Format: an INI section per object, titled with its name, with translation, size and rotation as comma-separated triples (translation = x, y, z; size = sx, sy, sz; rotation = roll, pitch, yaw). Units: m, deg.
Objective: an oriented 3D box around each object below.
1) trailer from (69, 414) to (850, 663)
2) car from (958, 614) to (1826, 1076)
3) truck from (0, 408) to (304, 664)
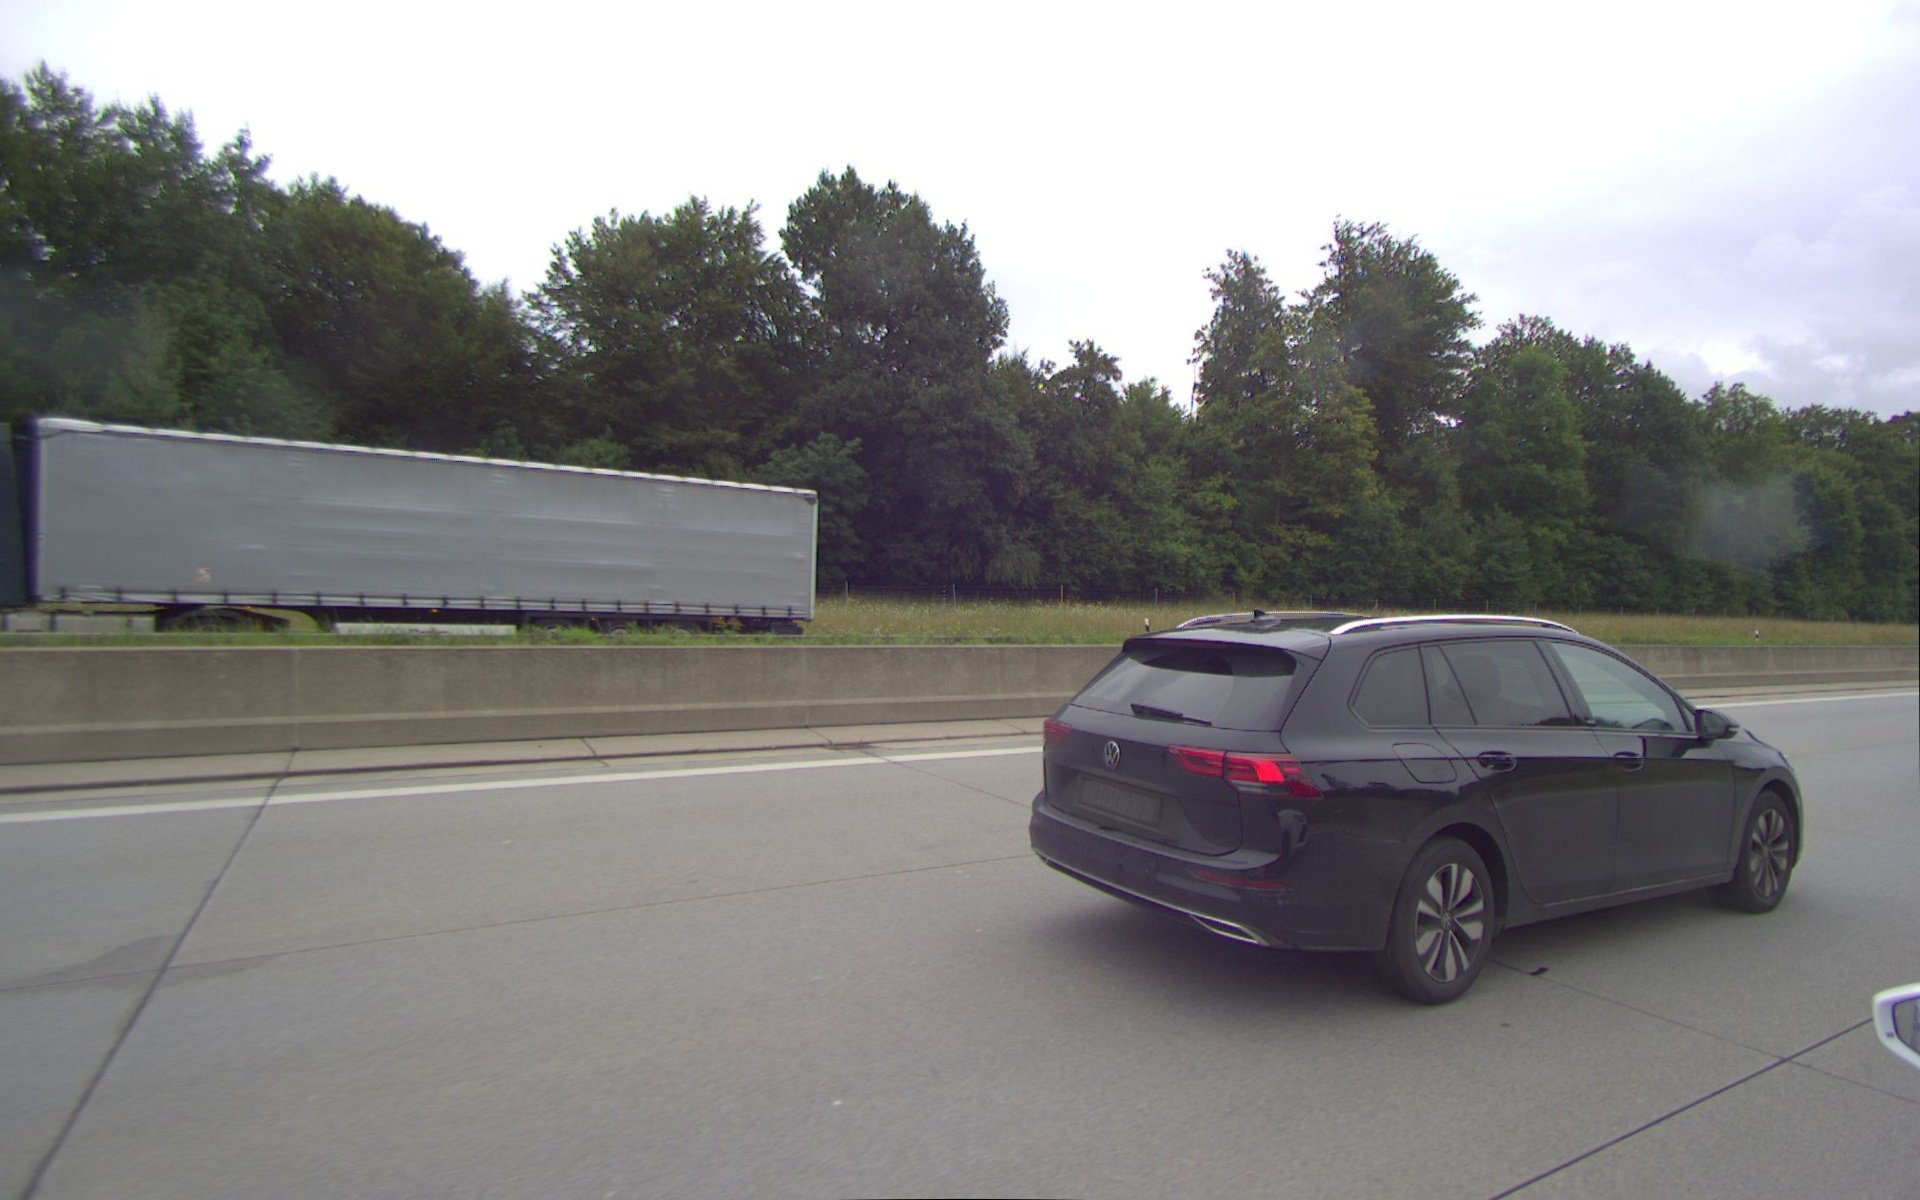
[trailer]
translation = -9.246, -0.870, 21.138
size = 13.822, 4.074, 2.797
rotation = 1, 0, -30
[car]
translation = 2.337, 0.826, 5.054
size = 4.432, 1.417, 1.744
rotation = 1, 0, -31
[truck]
translation = -15.252, -1.020, 17.637
size = 6.012, 4.081, 2.790
rotation = 1, 0, -30
